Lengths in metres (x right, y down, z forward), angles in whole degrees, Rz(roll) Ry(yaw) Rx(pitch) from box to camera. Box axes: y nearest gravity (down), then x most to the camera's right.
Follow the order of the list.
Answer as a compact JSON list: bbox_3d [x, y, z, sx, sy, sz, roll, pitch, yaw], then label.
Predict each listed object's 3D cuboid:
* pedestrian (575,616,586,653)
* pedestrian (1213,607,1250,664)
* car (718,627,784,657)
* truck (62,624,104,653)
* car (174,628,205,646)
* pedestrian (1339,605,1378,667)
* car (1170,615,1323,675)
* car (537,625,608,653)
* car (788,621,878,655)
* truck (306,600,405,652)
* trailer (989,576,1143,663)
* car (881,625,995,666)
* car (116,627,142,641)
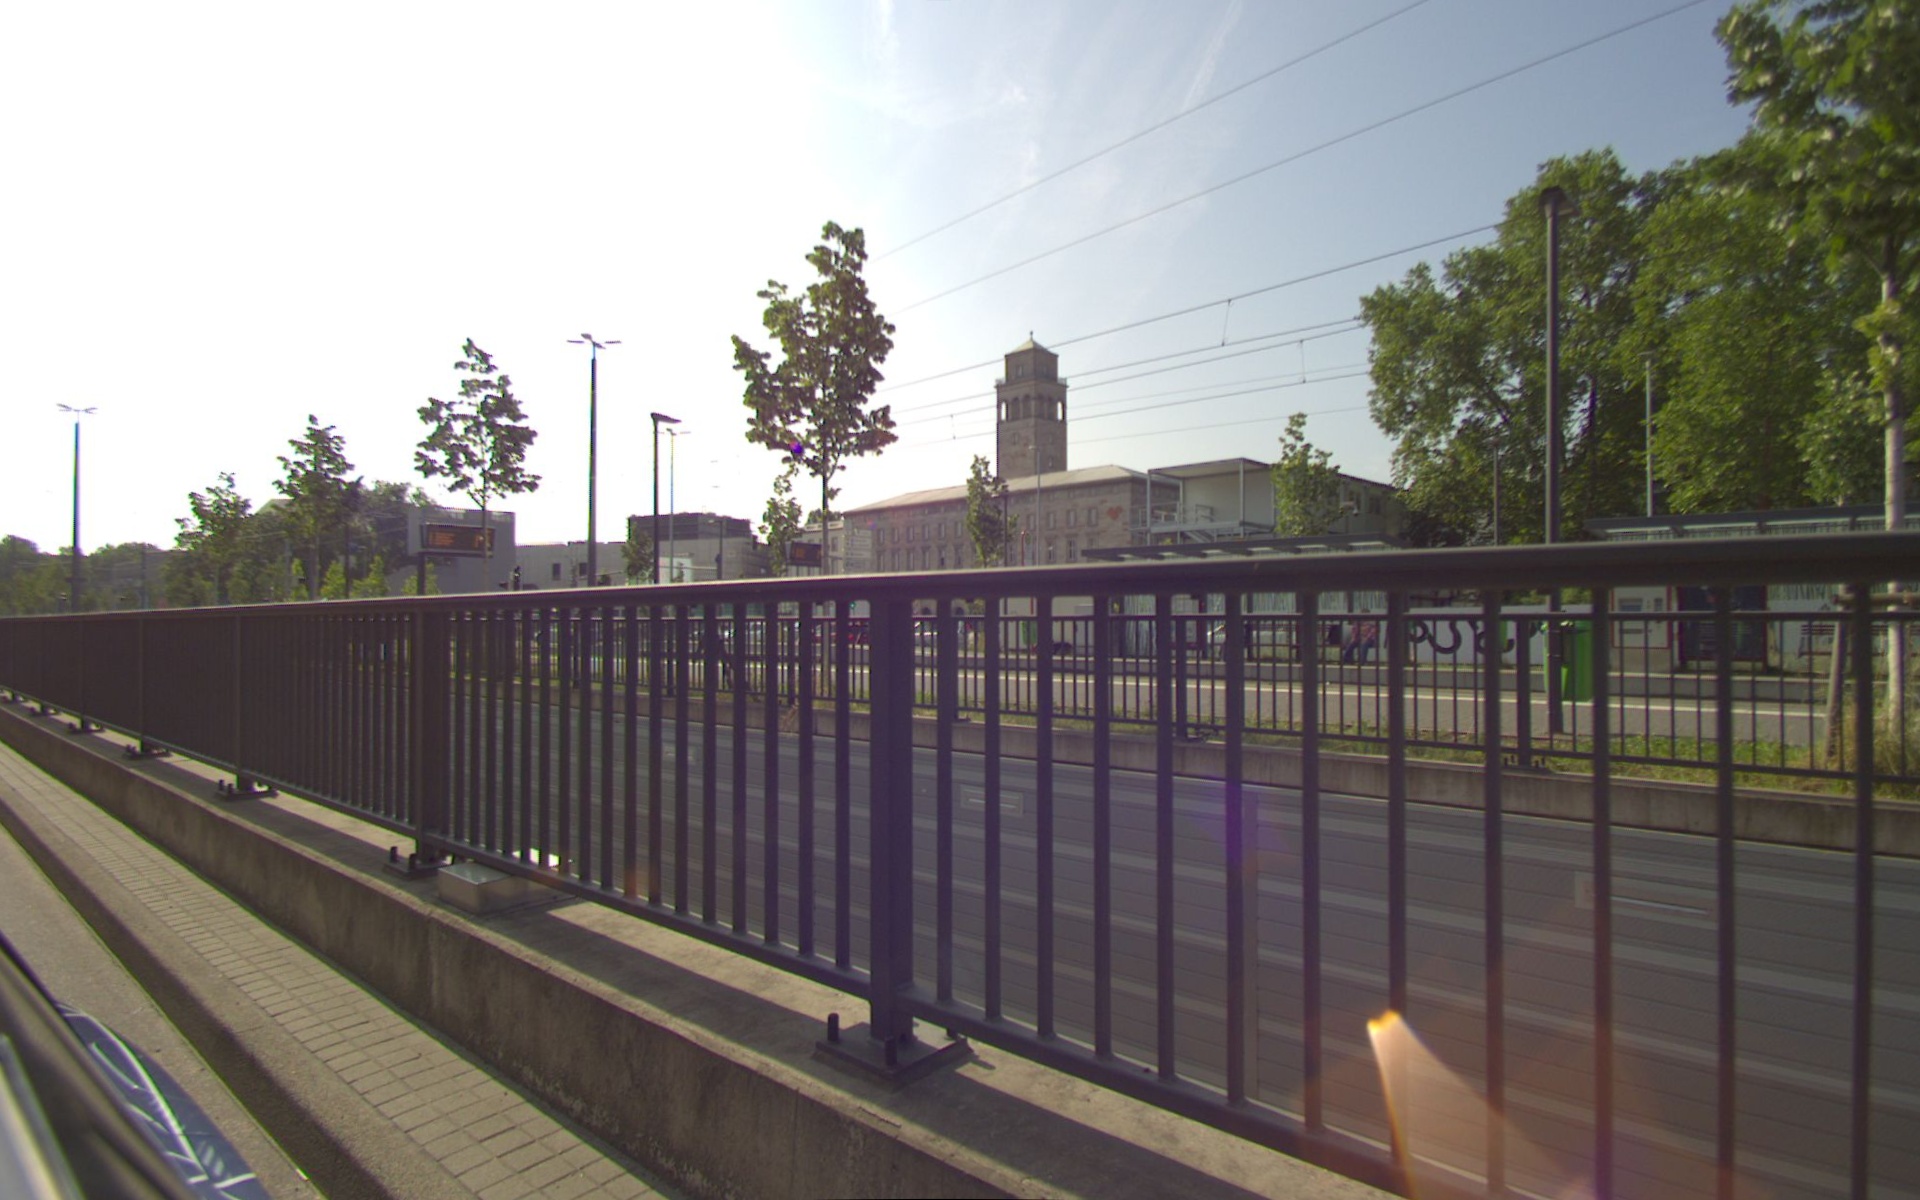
[{"bbox_3d":[-17.507,1.565,46.642,0.365,1.689,0.642,0,-2,-32],"label":"pedestrian"},{"bbox_3d":[6.297,0.820,23.441,0.592,1.310,0.674,-2,-2,38],"label":"pedestrian"},{"bbox_3d":[-10.696,2.110,51.741,3.433,1.474,1.579,-2,-2,42],"label":"car"},{"bbox_3d":[-120.082,5.210,138.441,10.417,3.838,2.940,-2,-2,41],"label":"truck"},{"bbox_3d":[-78.718,3.797,103.386,4.516,1.802,1.599,-2,-2,41],"label":"car"},{"bbox_3d":[8.578,0.776,21.801,0.592,1.310,0.674,-2,-2,38],"label":"pedestrian"},{"bbox_3d":[8.649,1.335,30.786,4.149,1.675,1.702,-2,-2,42],"label":"car"},{"bbox_3d":[-22.888,2.276,59.731,4.608,1.594,1.775,-1,-2,37],"label":"car"},{"bbox_3d":[-5.391,1.602,42.806,3.692,1.372,1.704,-2,-1,38],"label":"car"},{"bbox_3d":[-44.224,1.956,73.933,8.872,3.614,2.994,-2,-2,36],"label":"truck"},{"bbox_3d":[3.607,0.662,35.041,5.019,2.802,2.023,-1,0,41],"label":"trailer"},{"bbox_3d":[-0.878,1.706,38.608,4.400,1.481,1.626,-2,-2,40],"label":"car"},{"bbox_3d":[-97.734,4.021,119.029,3.995,1.613,1.623,-2,-2,39],"label":"car"}]
